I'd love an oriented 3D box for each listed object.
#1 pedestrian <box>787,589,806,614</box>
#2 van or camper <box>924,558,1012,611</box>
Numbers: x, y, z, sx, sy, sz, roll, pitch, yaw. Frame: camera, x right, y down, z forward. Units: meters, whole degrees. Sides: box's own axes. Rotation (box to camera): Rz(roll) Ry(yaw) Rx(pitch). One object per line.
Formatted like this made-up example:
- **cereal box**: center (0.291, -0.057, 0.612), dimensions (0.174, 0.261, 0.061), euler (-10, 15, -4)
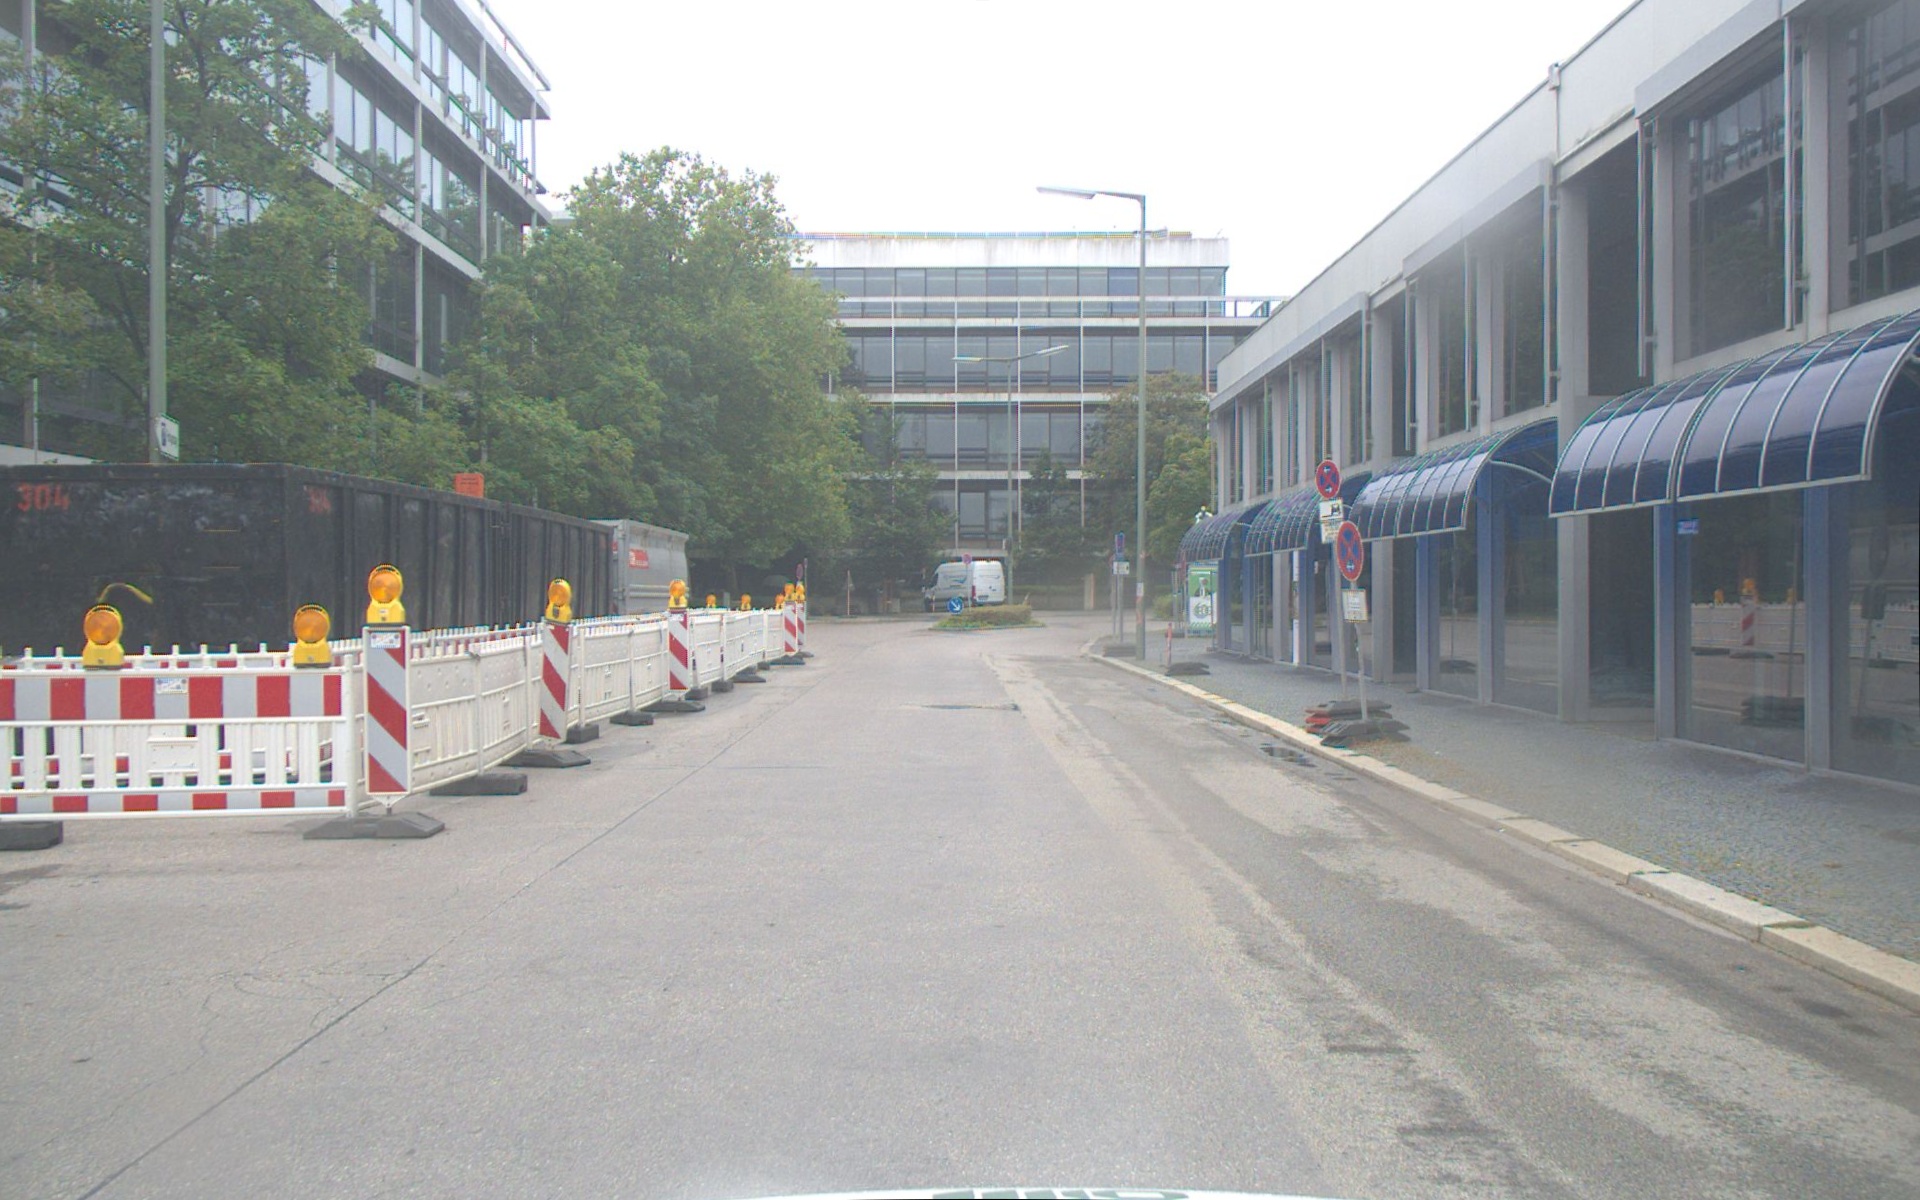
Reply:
- **pedestrian**: center (-8.534, 0.079, 86.343), dimensions (0.907, 1.300, 0.542), euler (0, 0, 1)
- **van or camper**: center (0.356, -0.773, 88.578), dimensions (2.129, 2.626, 6.485), euler (0, -1, -26)
